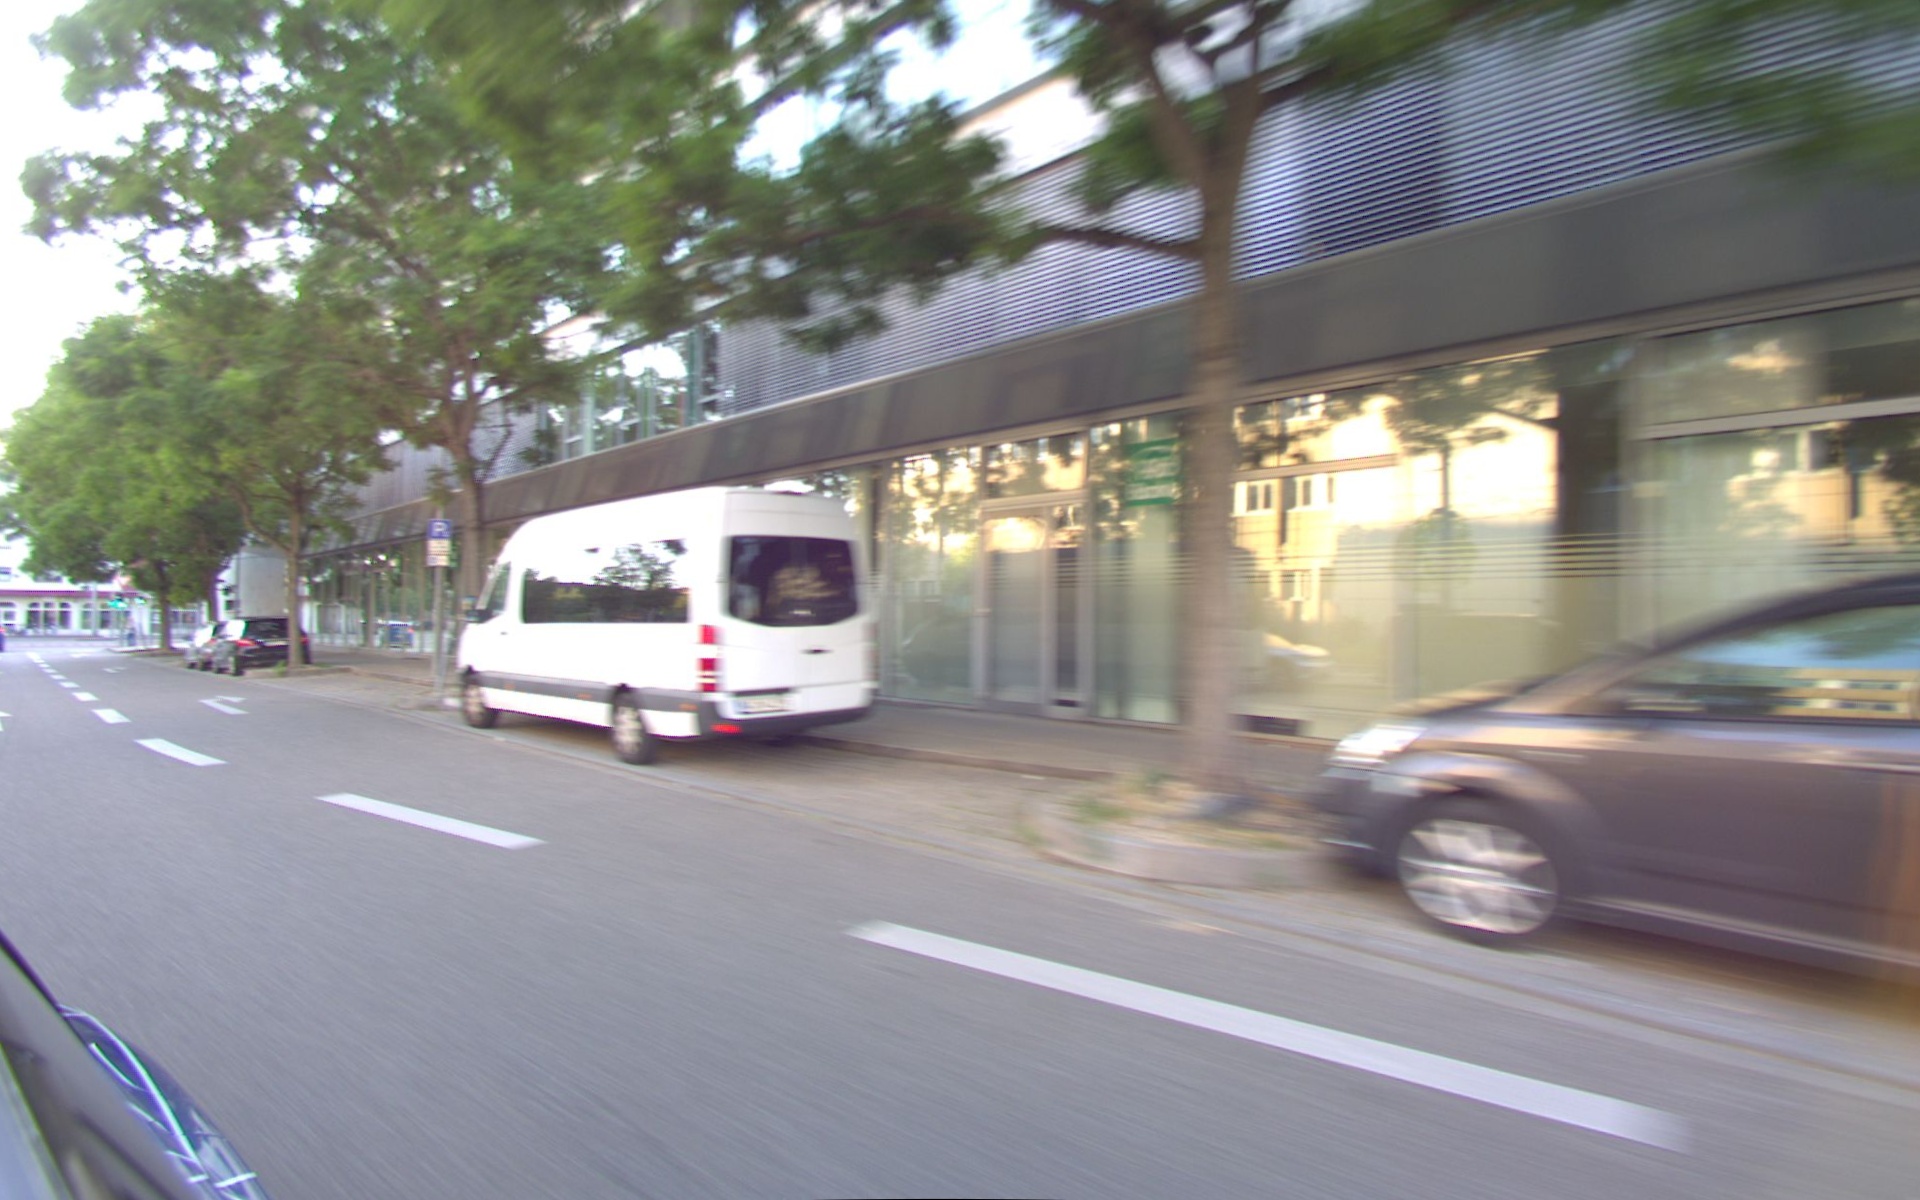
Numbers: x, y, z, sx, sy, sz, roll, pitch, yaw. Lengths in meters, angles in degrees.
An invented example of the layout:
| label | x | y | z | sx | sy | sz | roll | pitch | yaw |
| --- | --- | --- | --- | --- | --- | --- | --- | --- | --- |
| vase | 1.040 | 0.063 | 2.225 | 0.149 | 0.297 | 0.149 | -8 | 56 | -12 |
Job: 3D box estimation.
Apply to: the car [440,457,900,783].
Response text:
| label | x | y | z | sx | sy | sz | roll | pitch | yaw |
| --- | --- | --- | --- | --- | --- | --- | --- | --- | --- |
| car | -3.722 | 0.242 | 11.581 | 2.076 | 2.684 | 6.957 | 1 | -2 | -44 |

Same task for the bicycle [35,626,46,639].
| label | x | y | z | sx | sy | sz | roll | pitch | yaw |
| --- | --- | --- | --- | --- | --- | --- | --- | --- | --- |
| bicycle | -76.072 | 2.661 | 83.755 | 1.903 | 1.054 | 0.508 | -1 | -2 | 43 |

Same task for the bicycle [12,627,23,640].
| label | x | y | z | sx | sy | sz | roll | pitch | yaw |
| --- | --- | --- | --- | --- | --- | --- | --- | --- | --- |
| bicycle | -77.049 | 2.728 | 82.707 | 1.903 | 1.054 | 0.508 | -1 | -2 | 43 |

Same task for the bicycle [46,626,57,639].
| label | x | y | z | sx | sy | sz | roll | pitch | yaw |
| --- | --- | --- | --- | --- | --- | --- | --- | --- | --- |
| bicycle | -75.446 | 2.695 | 84.042 | 1.903 | 1.054 | 0.508 | -1 | -2 | 43 |

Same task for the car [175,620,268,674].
| label | x | y | z | sx | sy | sz | roll | pitch | yaw |
| --- | --- | --- | --- | --- | --- | --- | --- | --- | --- |
| car | -23.000 | 1.424 | 31.443 | 1.684 | 1.472 | 4.630 | -3 | 1 | -44 |

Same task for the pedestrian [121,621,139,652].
| label | x | y | z | sx | sy | sz | roll | pitch | yaw |
| --- | --- | --- | --- | --- | --- | --- | --- | --- | --- |
| pedestrian | -46.736 | 2.059 | 56.994 | 0.537 | 1.714 | 0.709 | 1 | -2 | -17 |

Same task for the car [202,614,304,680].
| label | x | y | z | sx | sy | sz | roll | pitch | yaw |
| --- | --- | --- | --- | --- | --- | --- | --- | --- | --- |
| car | -19.369 | 1.238 | 27.648 | 1.571 | 1.580 | 4.474 | -3 | 1 | -44 |

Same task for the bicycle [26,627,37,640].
| label | x | y | z | sx | sy | sz | roll | pitch | yaw |
| --- | --- | --- | --- | --- | --- | --- | --- | --- | --- |
| bicycle | -76.513 | 2.725 | 83.358 | 1.903 | 1.054 | 0.508 | -1 | -2 | 43 |

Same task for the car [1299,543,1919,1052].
| label | x | y | z | sx | sy | sz | roll | pitch | yaw |
| --- | --- | --- | --- | --- | --- | --- | --- | --- | --- |
| car | 3.693 | 0.624 | 3.744 | 1.822 | 1.583 | 4.271 | 1 | -2 | -44 |
